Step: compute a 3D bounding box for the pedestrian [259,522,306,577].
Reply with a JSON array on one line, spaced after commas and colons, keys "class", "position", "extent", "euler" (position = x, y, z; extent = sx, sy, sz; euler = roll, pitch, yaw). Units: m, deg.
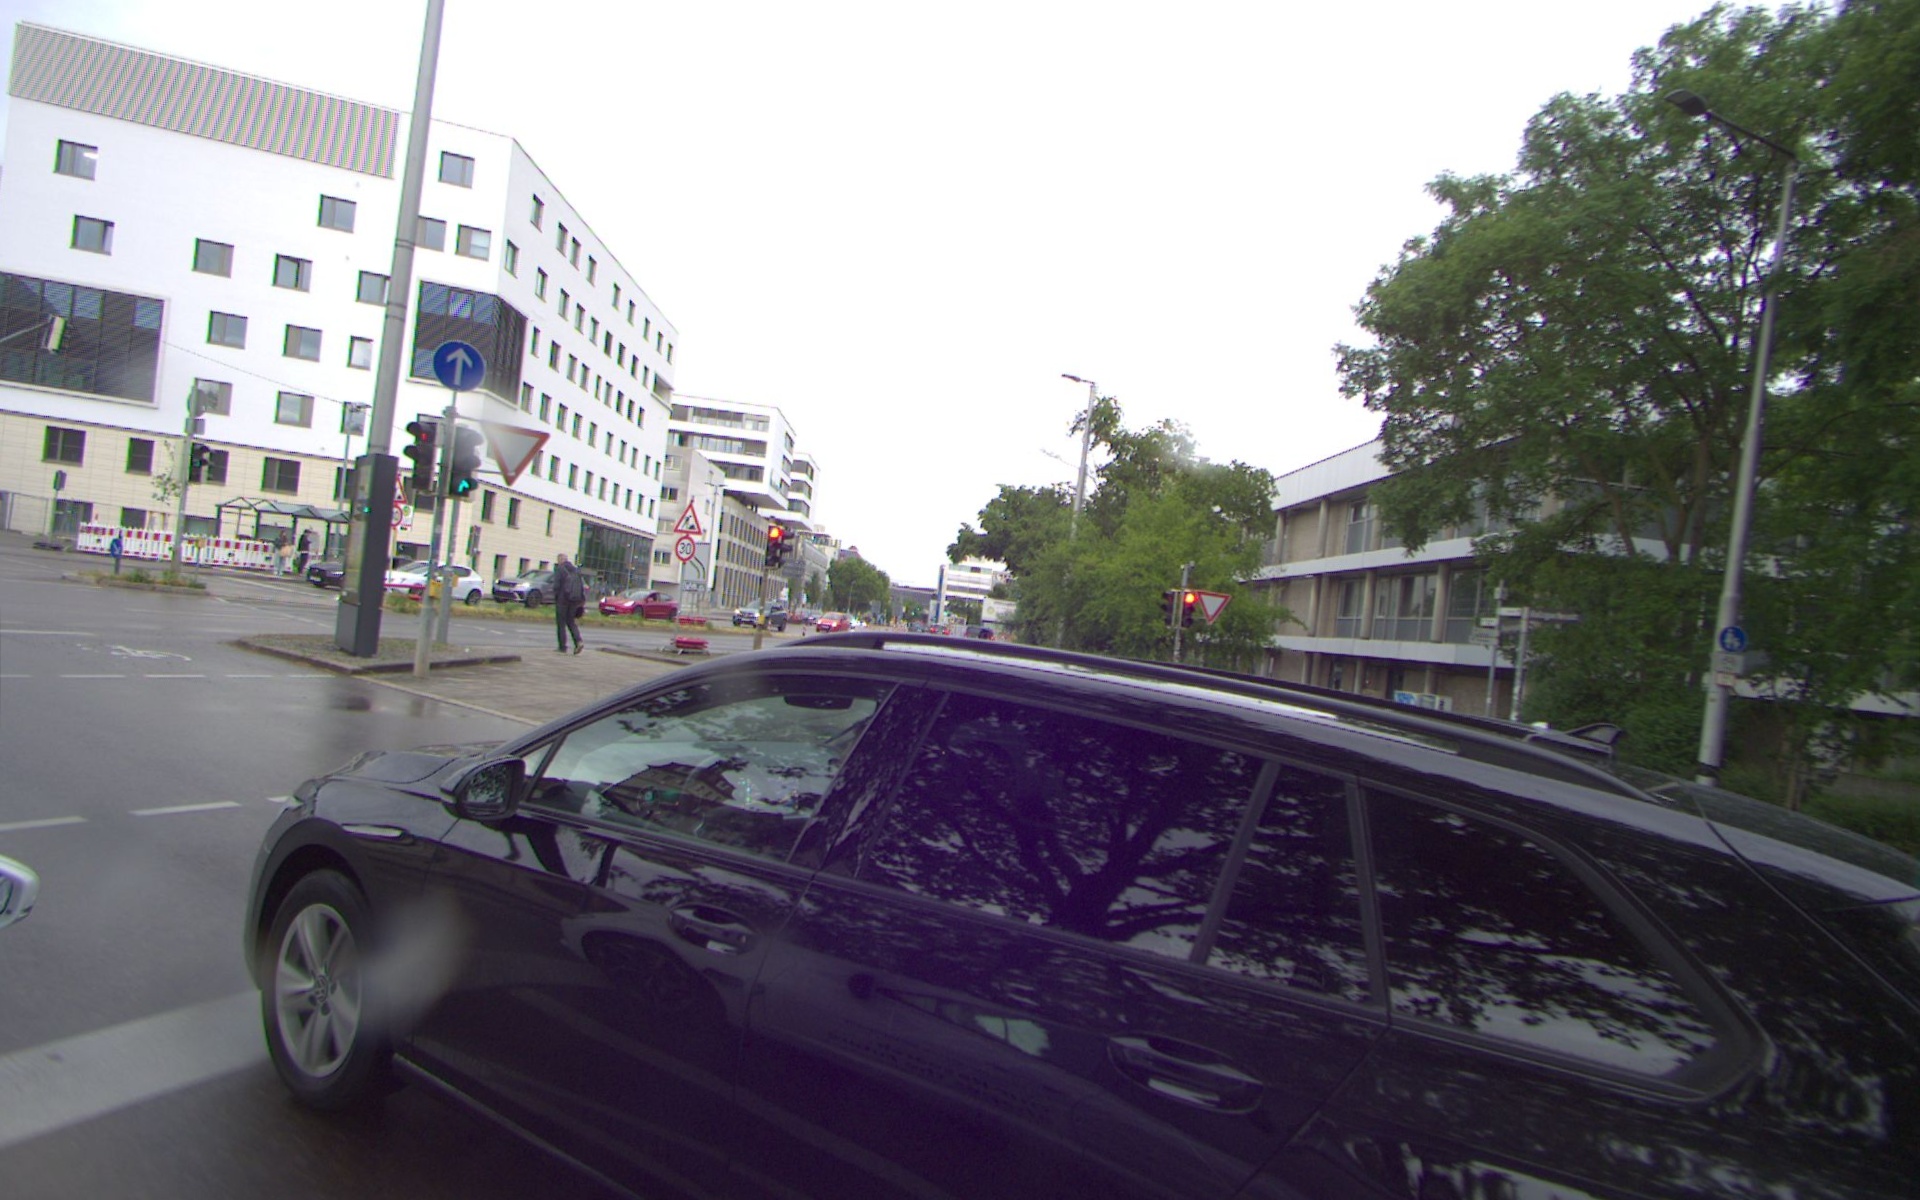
[{"class": "pedestrian", "position": [-25.123, -1.848, 37.313], "extent": [0.808, 1.860, 0.955], "euler": [6, -2, 21]}]

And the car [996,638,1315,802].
[{"class": "car", "position": [2.410, 1.498, 13.381], "extent": [1.849, 1.467, 3.967], "euler": [8, -1, -31]}]

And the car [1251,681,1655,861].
[{"class": "car", "position": [6.305, 2.134, 13.355], "extent": [1.853, 1.466, 4.360], "euler": [9, -2, -37]}]

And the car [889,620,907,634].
[{"class": "car", "position": [-8.536, 3.782, 138.623], "extent": [1.837, 1.669, 4.774], "euler": [7, -3, -10]}]

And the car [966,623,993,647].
[{"class": "car", "position": [1.675, 3.129, 89.098], "extent": [1.964, 1.829, 4.790], "euler": [8, -2, -1]}]

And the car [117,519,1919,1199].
[{"class": "car", "position": [-0.232, 0.798, 2.708], "extent": [4.437, 1.483, 1.673], "euler": [7, -1, 31]}]

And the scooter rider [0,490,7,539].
[{"class": "scooter rider", "position": [-33.456, -2.872, 34.479], "extent": [0.619, 1.904, 0.727], "euler": [6, -2, 12]}]

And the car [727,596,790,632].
[{"class": "car", "position": [-11.585, 0.818, 58.083], "extent": [1.929, 1.554, 4.166], "euler": [7, -3, 12]}]

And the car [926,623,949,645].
[{"class": "car", "position": [-2.092, 3.159, 93.258], "extent": [1.765, 1.726, 4.688], "euler": [8, -1, -3]}]

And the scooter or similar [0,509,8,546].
[{"class": "scooter or similar", "position": [-33.527, -2.560, 34.451], "extent": [1.288, 1.253, 0.594], "euler": [6, -2, 11]}]

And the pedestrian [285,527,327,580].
[{"class": "pedestrian", "position": [-26.089, -1.841, 40.116], "extent": [0.941, 1.957, 1.001], "euler": [5, -3, 41]}]

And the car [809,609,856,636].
[{"class": "car", "position": [-9.181, 1.686, 72.907], "extent": [1.929, 1.466, 4.166], "euler": [7, -3, 12]}]

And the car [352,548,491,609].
[{"class": "car", "position": [-18.484, -0.686, 34.737], "extent": [1.764, 1.459, 4.006], "euler": [7, -3, 17]}]

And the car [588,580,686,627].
[{"class": "car", "position": [-14.733, 0.211, 46.122], "extent": [1.929, 1.574, 4.536], "euler": [7, -3, 16]}]

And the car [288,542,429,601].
[{"class": "car", "position": [-21.242, -0.963, 35.703], "extent": [1.764, 1.459, 4.006], "euler": [7, -3, 17]}]

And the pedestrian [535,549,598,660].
[{"class": "pedestrian", "position": [-7.326, 0.097, 18.787], "extent": [0.818, 1.913, 1.024], "euler": [7, -2, -18]}]

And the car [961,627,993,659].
[{"class": "car", "position": [1.211, 2.931, 69.185], "extent": [1.764, 1.930, 4.312], "euler": [8, -1, 4]}]

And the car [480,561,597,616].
[{"class": "car", "position": [-18.441, -0.473, 44.215], "extent": [1.965, 1.683, 4.388], "euler": [8, -2, 26]}]
